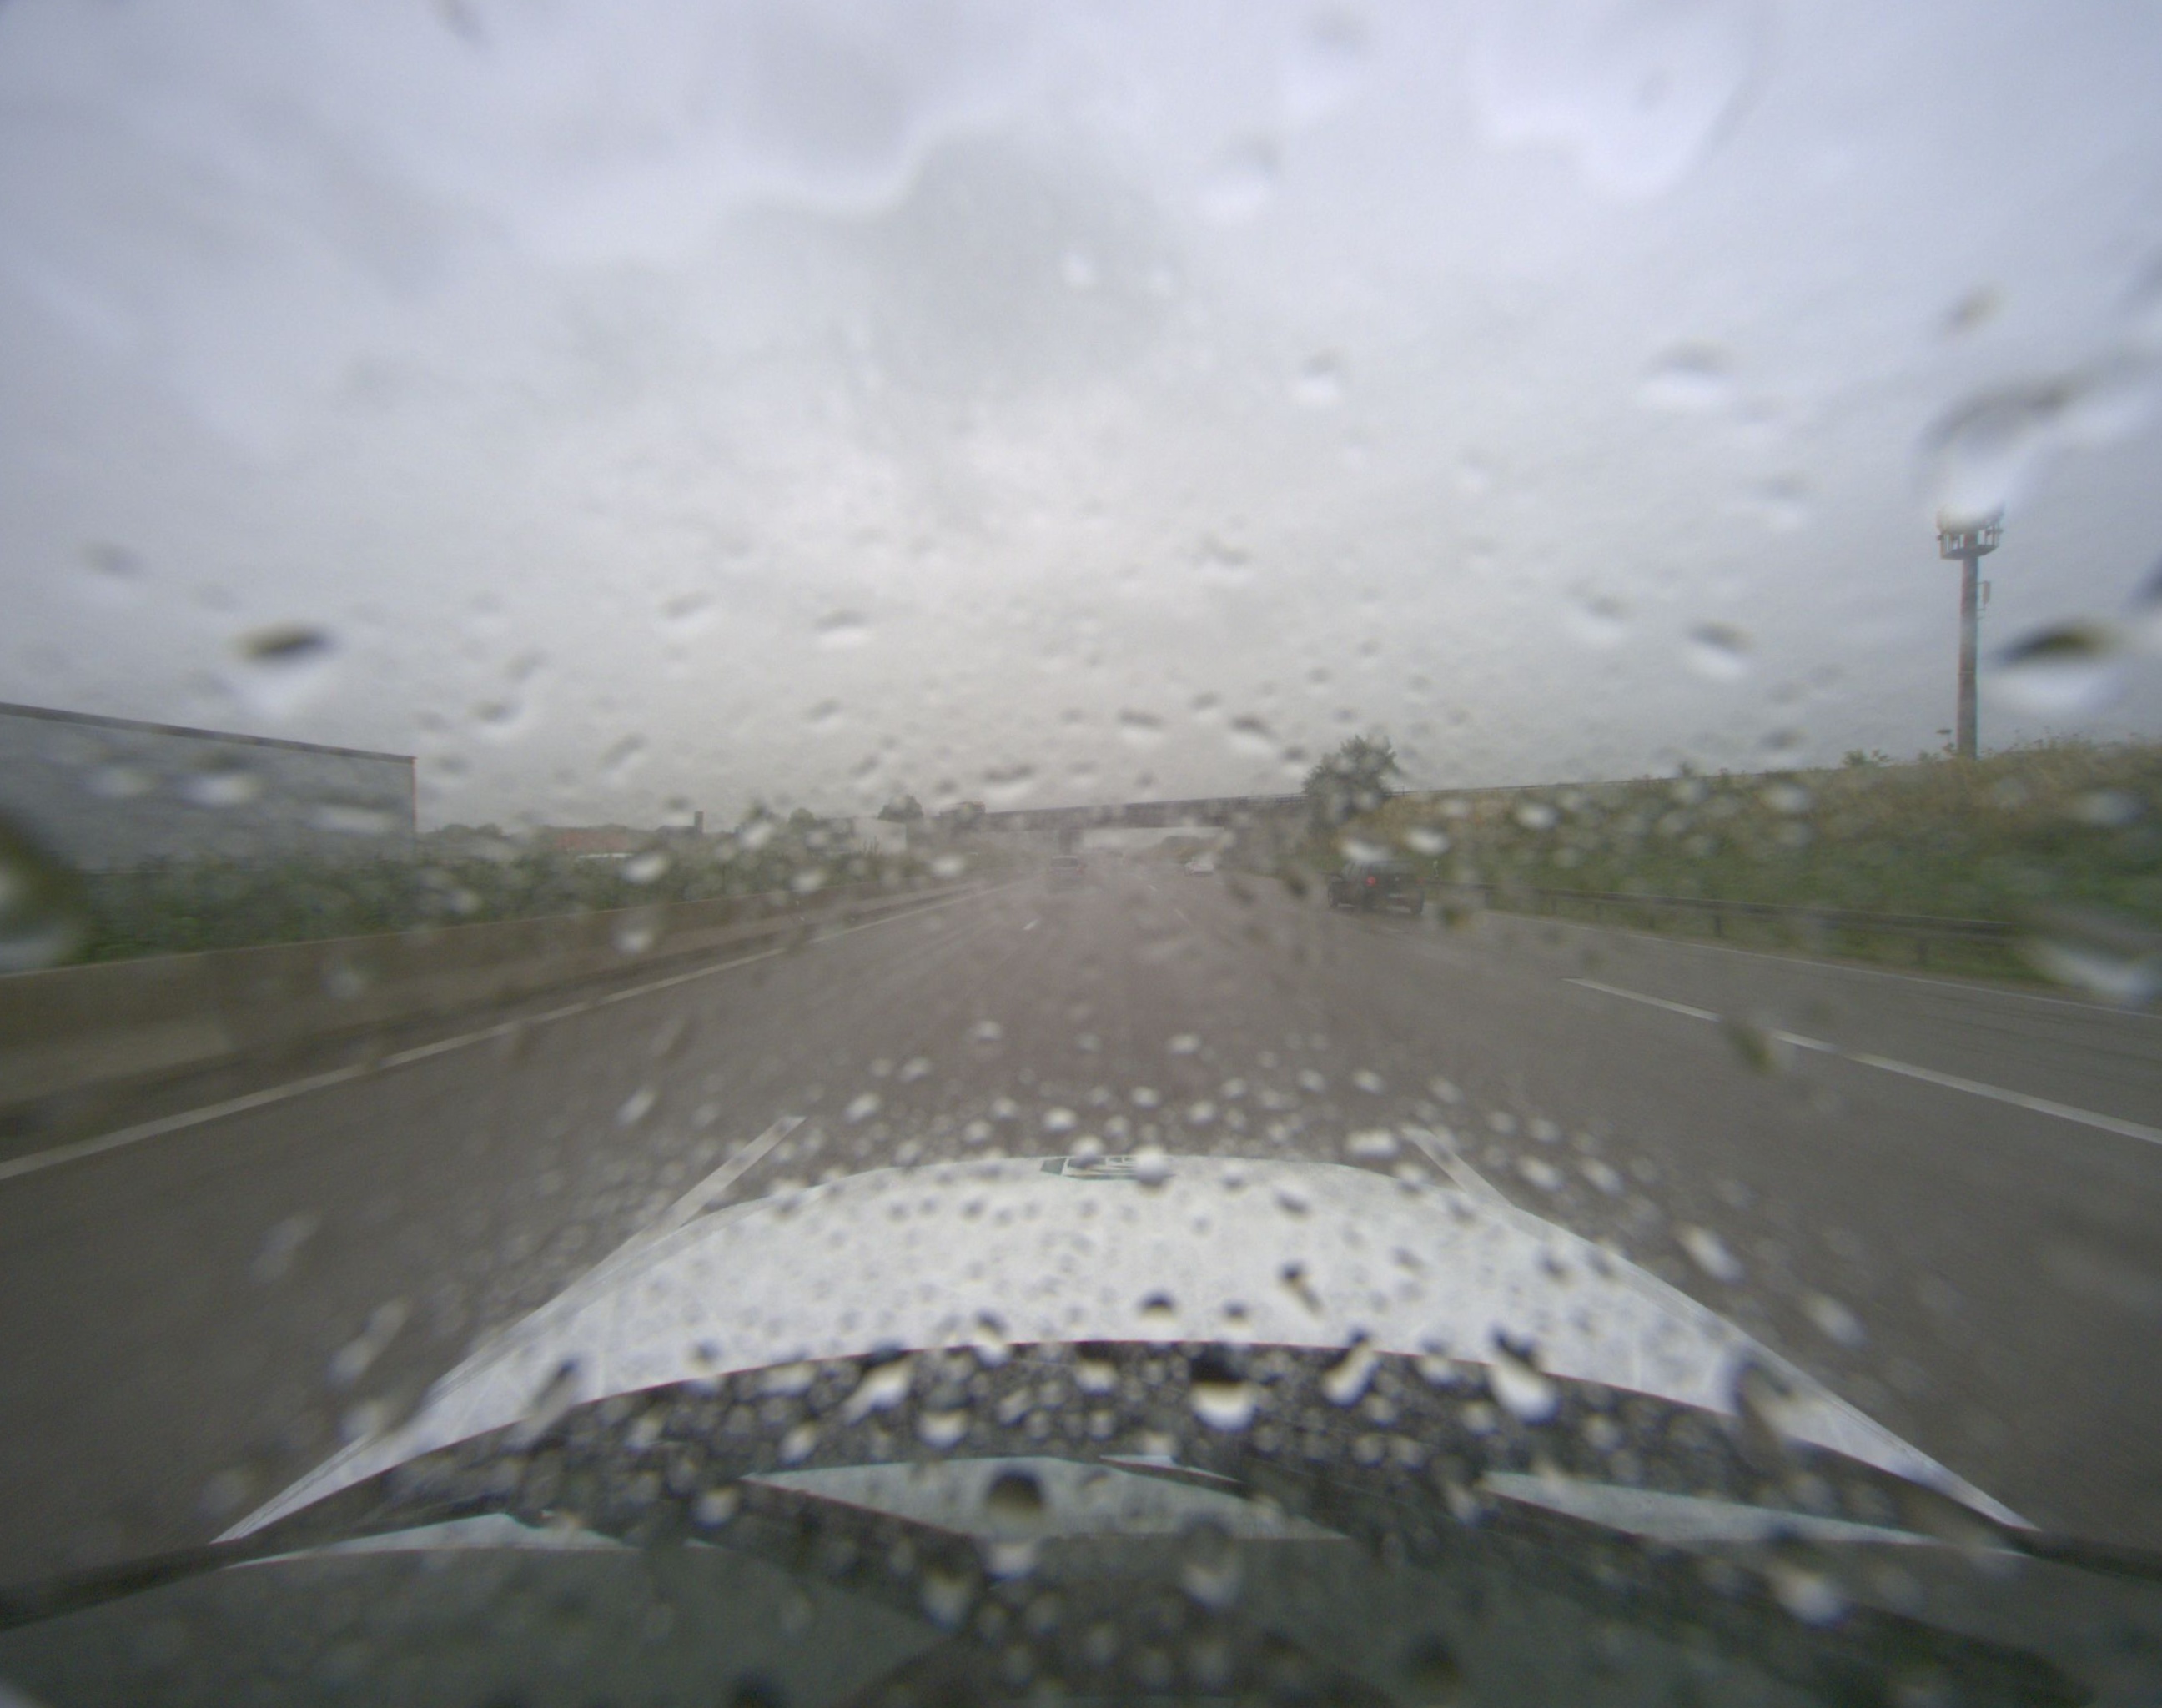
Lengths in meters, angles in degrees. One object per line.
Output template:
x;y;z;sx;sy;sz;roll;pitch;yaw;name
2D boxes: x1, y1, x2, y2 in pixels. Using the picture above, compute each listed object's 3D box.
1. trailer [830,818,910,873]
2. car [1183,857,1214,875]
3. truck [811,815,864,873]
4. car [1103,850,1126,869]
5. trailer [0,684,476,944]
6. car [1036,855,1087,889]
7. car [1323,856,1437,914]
-16.124;-0.597;63.418;1.985;3.765;13.868;-1;0;2;trailer
8.543;0.845;59.564;1.984;1.266;4.005;0;-1;4;car
-16.464;-0.629;55.348;1.985;3.781;4.816;0;0;3;truck
2.893;0.506;70.256;1.889;1.585;4.003;0;-1;3;car
-19.030;-0.653;16.923;2.808;4.251;13.240;0;0;1;trailer
-0.853;0.810;38.591;1.837;1.513;4.763;-1;0;5;car
7.943;0.771;21.973;1.726;1.421;3.657;0;0;0;car
